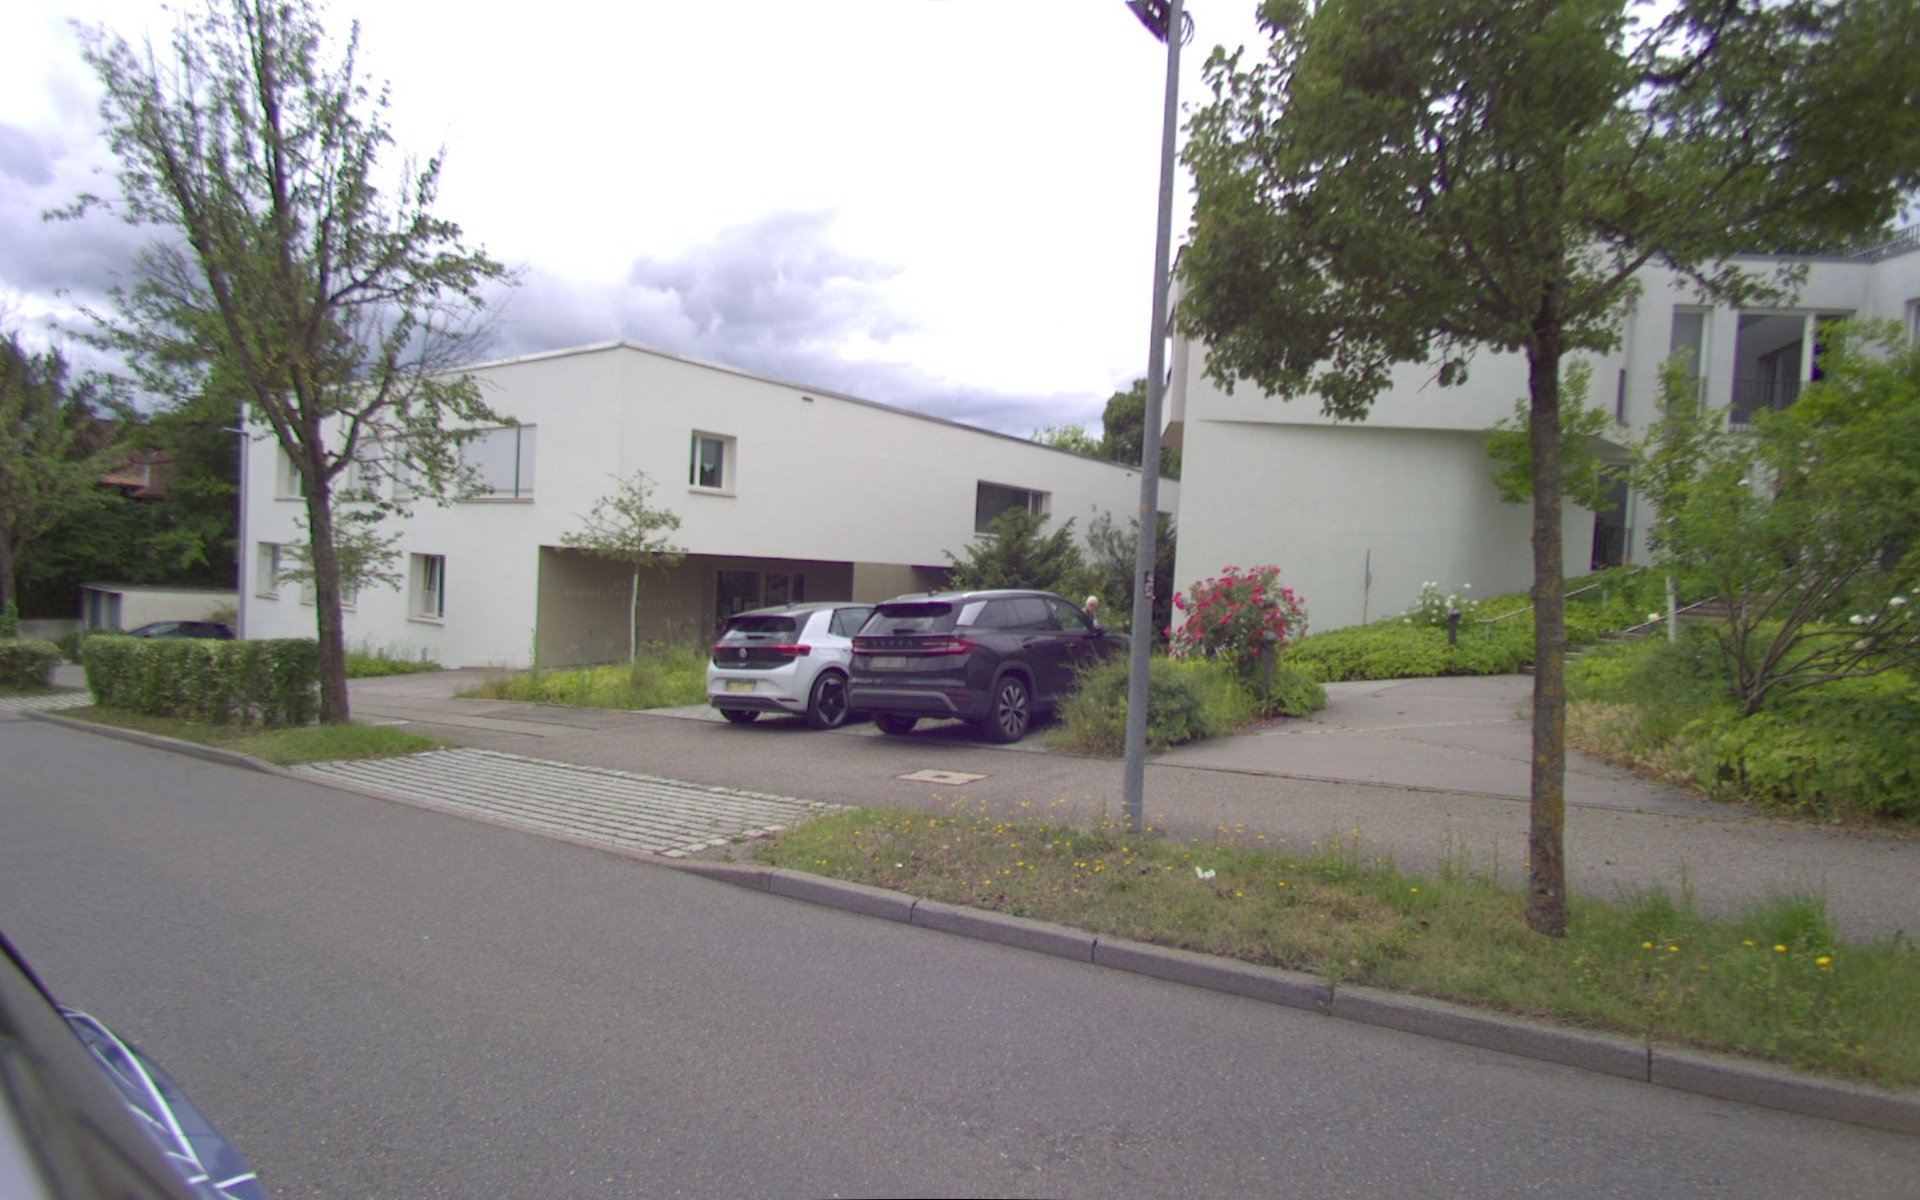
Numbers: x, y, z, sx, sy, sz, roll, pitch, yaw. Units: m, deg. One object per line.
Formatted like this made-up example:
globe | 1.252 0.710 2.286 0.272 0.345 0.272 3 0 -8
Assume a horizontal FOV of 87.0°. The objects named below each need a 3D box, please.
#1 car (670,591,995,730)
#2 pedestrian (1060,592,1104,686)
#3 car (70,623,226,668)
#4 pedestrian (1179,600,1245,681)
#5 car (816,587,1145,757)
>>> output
car | -1.558 0.748 13.887 2.062 1.578 4.348 -1 -2 35
pedestrian | 2.195 0.692 18.193 0.564 1.653 0.588 -1 -2 38
car | -26.806 1.462 33.497 1.739 1.364 3.758 -1 -1 38
pedestrian | 4.179 0.651 16.800 0.898 1.293 0.601 -1 0 37
car | 0.400 0.712 12.111 2.005 1.666 3.950 -1 -1 37
